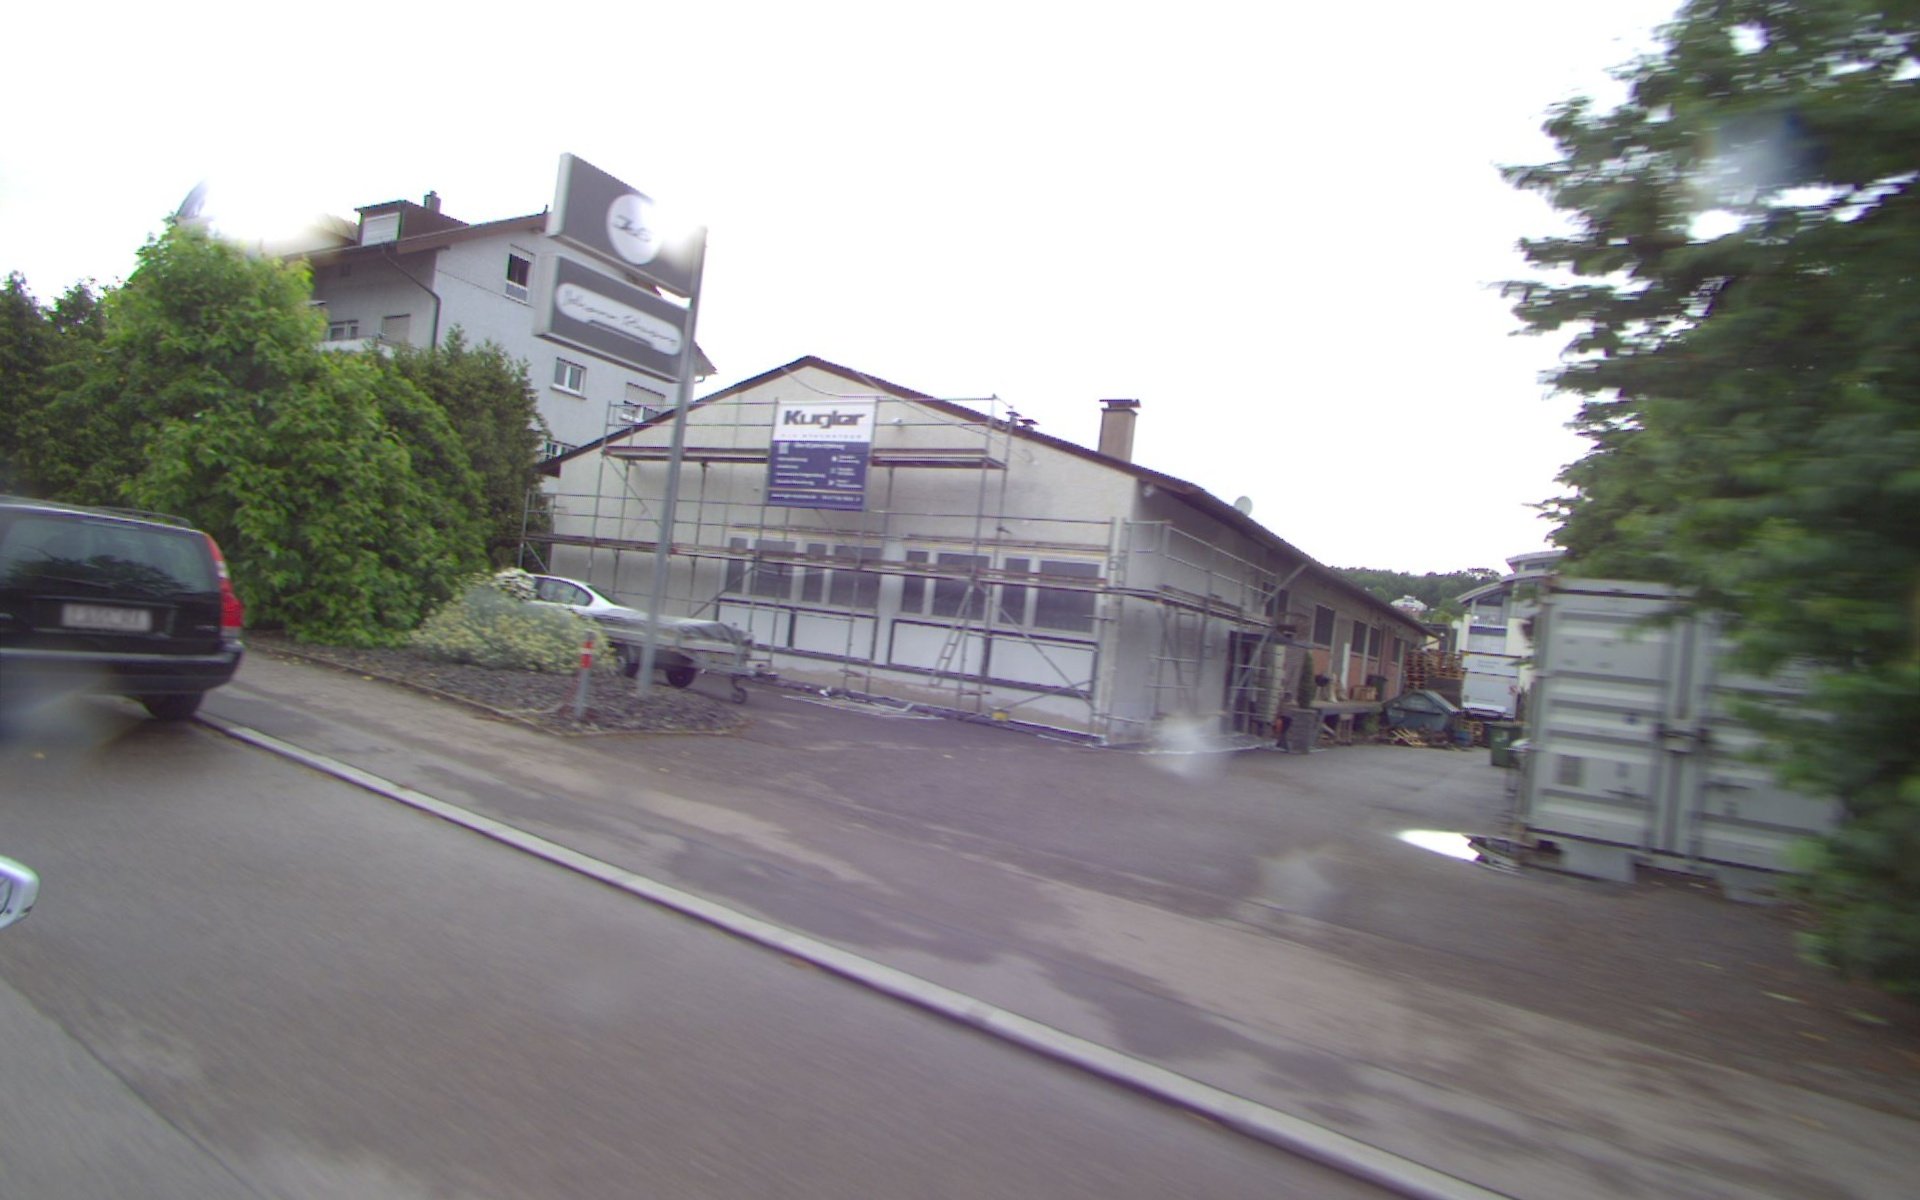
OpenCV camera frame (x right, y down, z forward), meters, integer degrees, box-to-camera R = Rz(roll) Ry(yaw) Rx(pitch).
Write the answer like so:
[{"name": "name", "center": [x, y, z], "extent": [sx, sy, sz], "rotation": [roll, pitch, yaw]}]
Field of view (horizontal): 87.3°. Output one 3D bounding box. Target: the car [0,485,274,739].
[{"name": "car", "center": [-7.209, -0.086, 7.337], "extent": [4.449, 1.454, 1.716], "rotation": [7, -2, 29]}]

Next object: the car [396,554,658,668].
[{"name": "car", "center": [-7.492, 0.198, 17.762], "extent": [3.892, 1.416, 1.537], "rotation": [8, 0, -13]}]

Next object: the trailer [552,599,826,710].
[{"name": "trailer", "center": [-3.978, 0.773, 14.606], "extent": [3.842, 1.071, 1.542], "rotation": [6, -2, 32]}]
